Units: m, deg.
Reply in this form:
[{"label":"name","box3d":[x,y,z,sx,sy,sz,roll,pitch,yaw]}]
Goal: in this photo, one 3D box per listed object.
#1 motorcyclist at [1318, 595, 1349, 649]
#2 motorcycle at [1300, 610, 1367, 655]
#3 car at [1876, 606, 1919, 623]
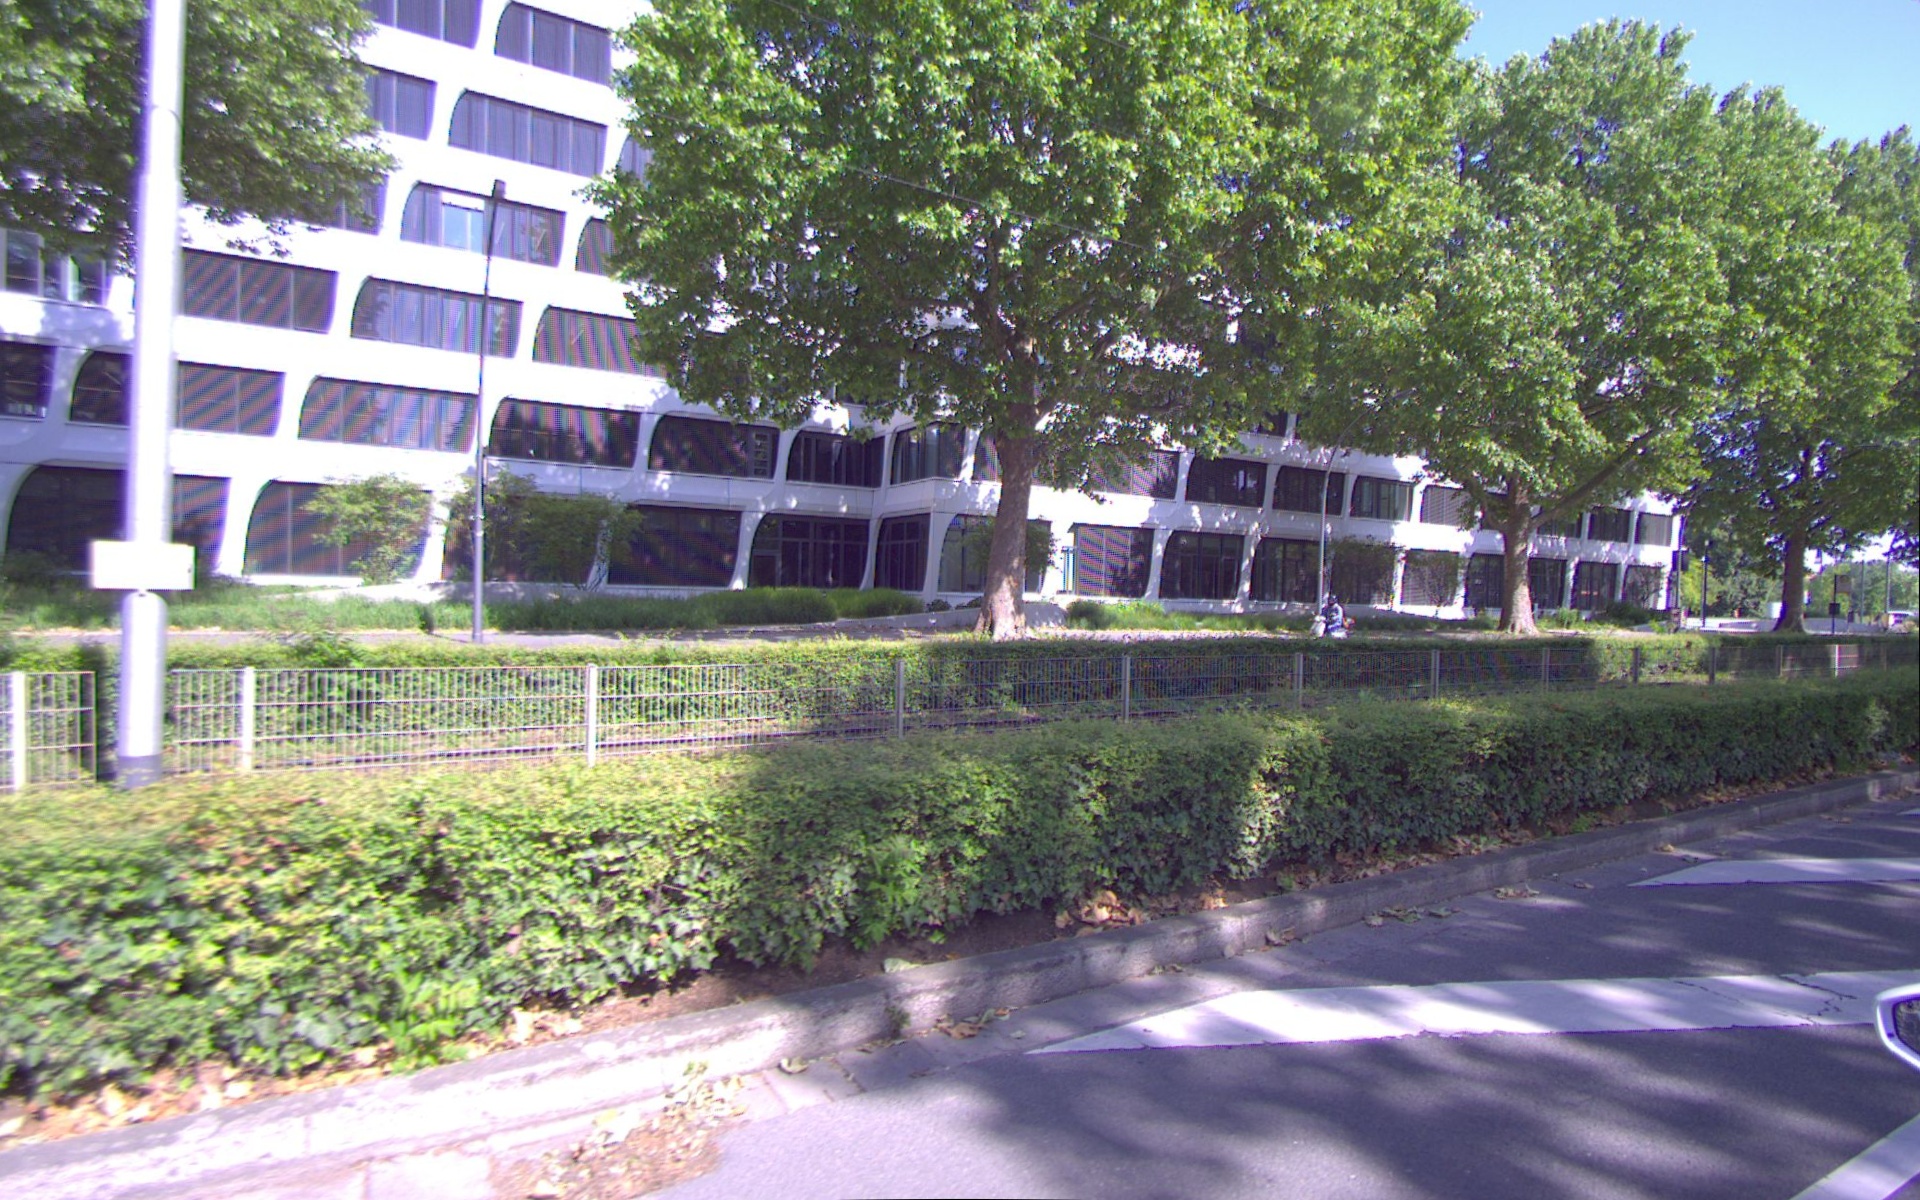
[{"label":"motorcyclist","box3d":[10.372,0.603,27.903,0.527,1.477,0.578,0,1,-30]},{"label":"motorcycle","box3d":[10.393,0.887,27.912,1.976,1.190,0.629,1,1,-31]},{"label":"car","box3d":[96.026,1.445,102.142,1.748,1.569,3.829,1,1,-29]}]
